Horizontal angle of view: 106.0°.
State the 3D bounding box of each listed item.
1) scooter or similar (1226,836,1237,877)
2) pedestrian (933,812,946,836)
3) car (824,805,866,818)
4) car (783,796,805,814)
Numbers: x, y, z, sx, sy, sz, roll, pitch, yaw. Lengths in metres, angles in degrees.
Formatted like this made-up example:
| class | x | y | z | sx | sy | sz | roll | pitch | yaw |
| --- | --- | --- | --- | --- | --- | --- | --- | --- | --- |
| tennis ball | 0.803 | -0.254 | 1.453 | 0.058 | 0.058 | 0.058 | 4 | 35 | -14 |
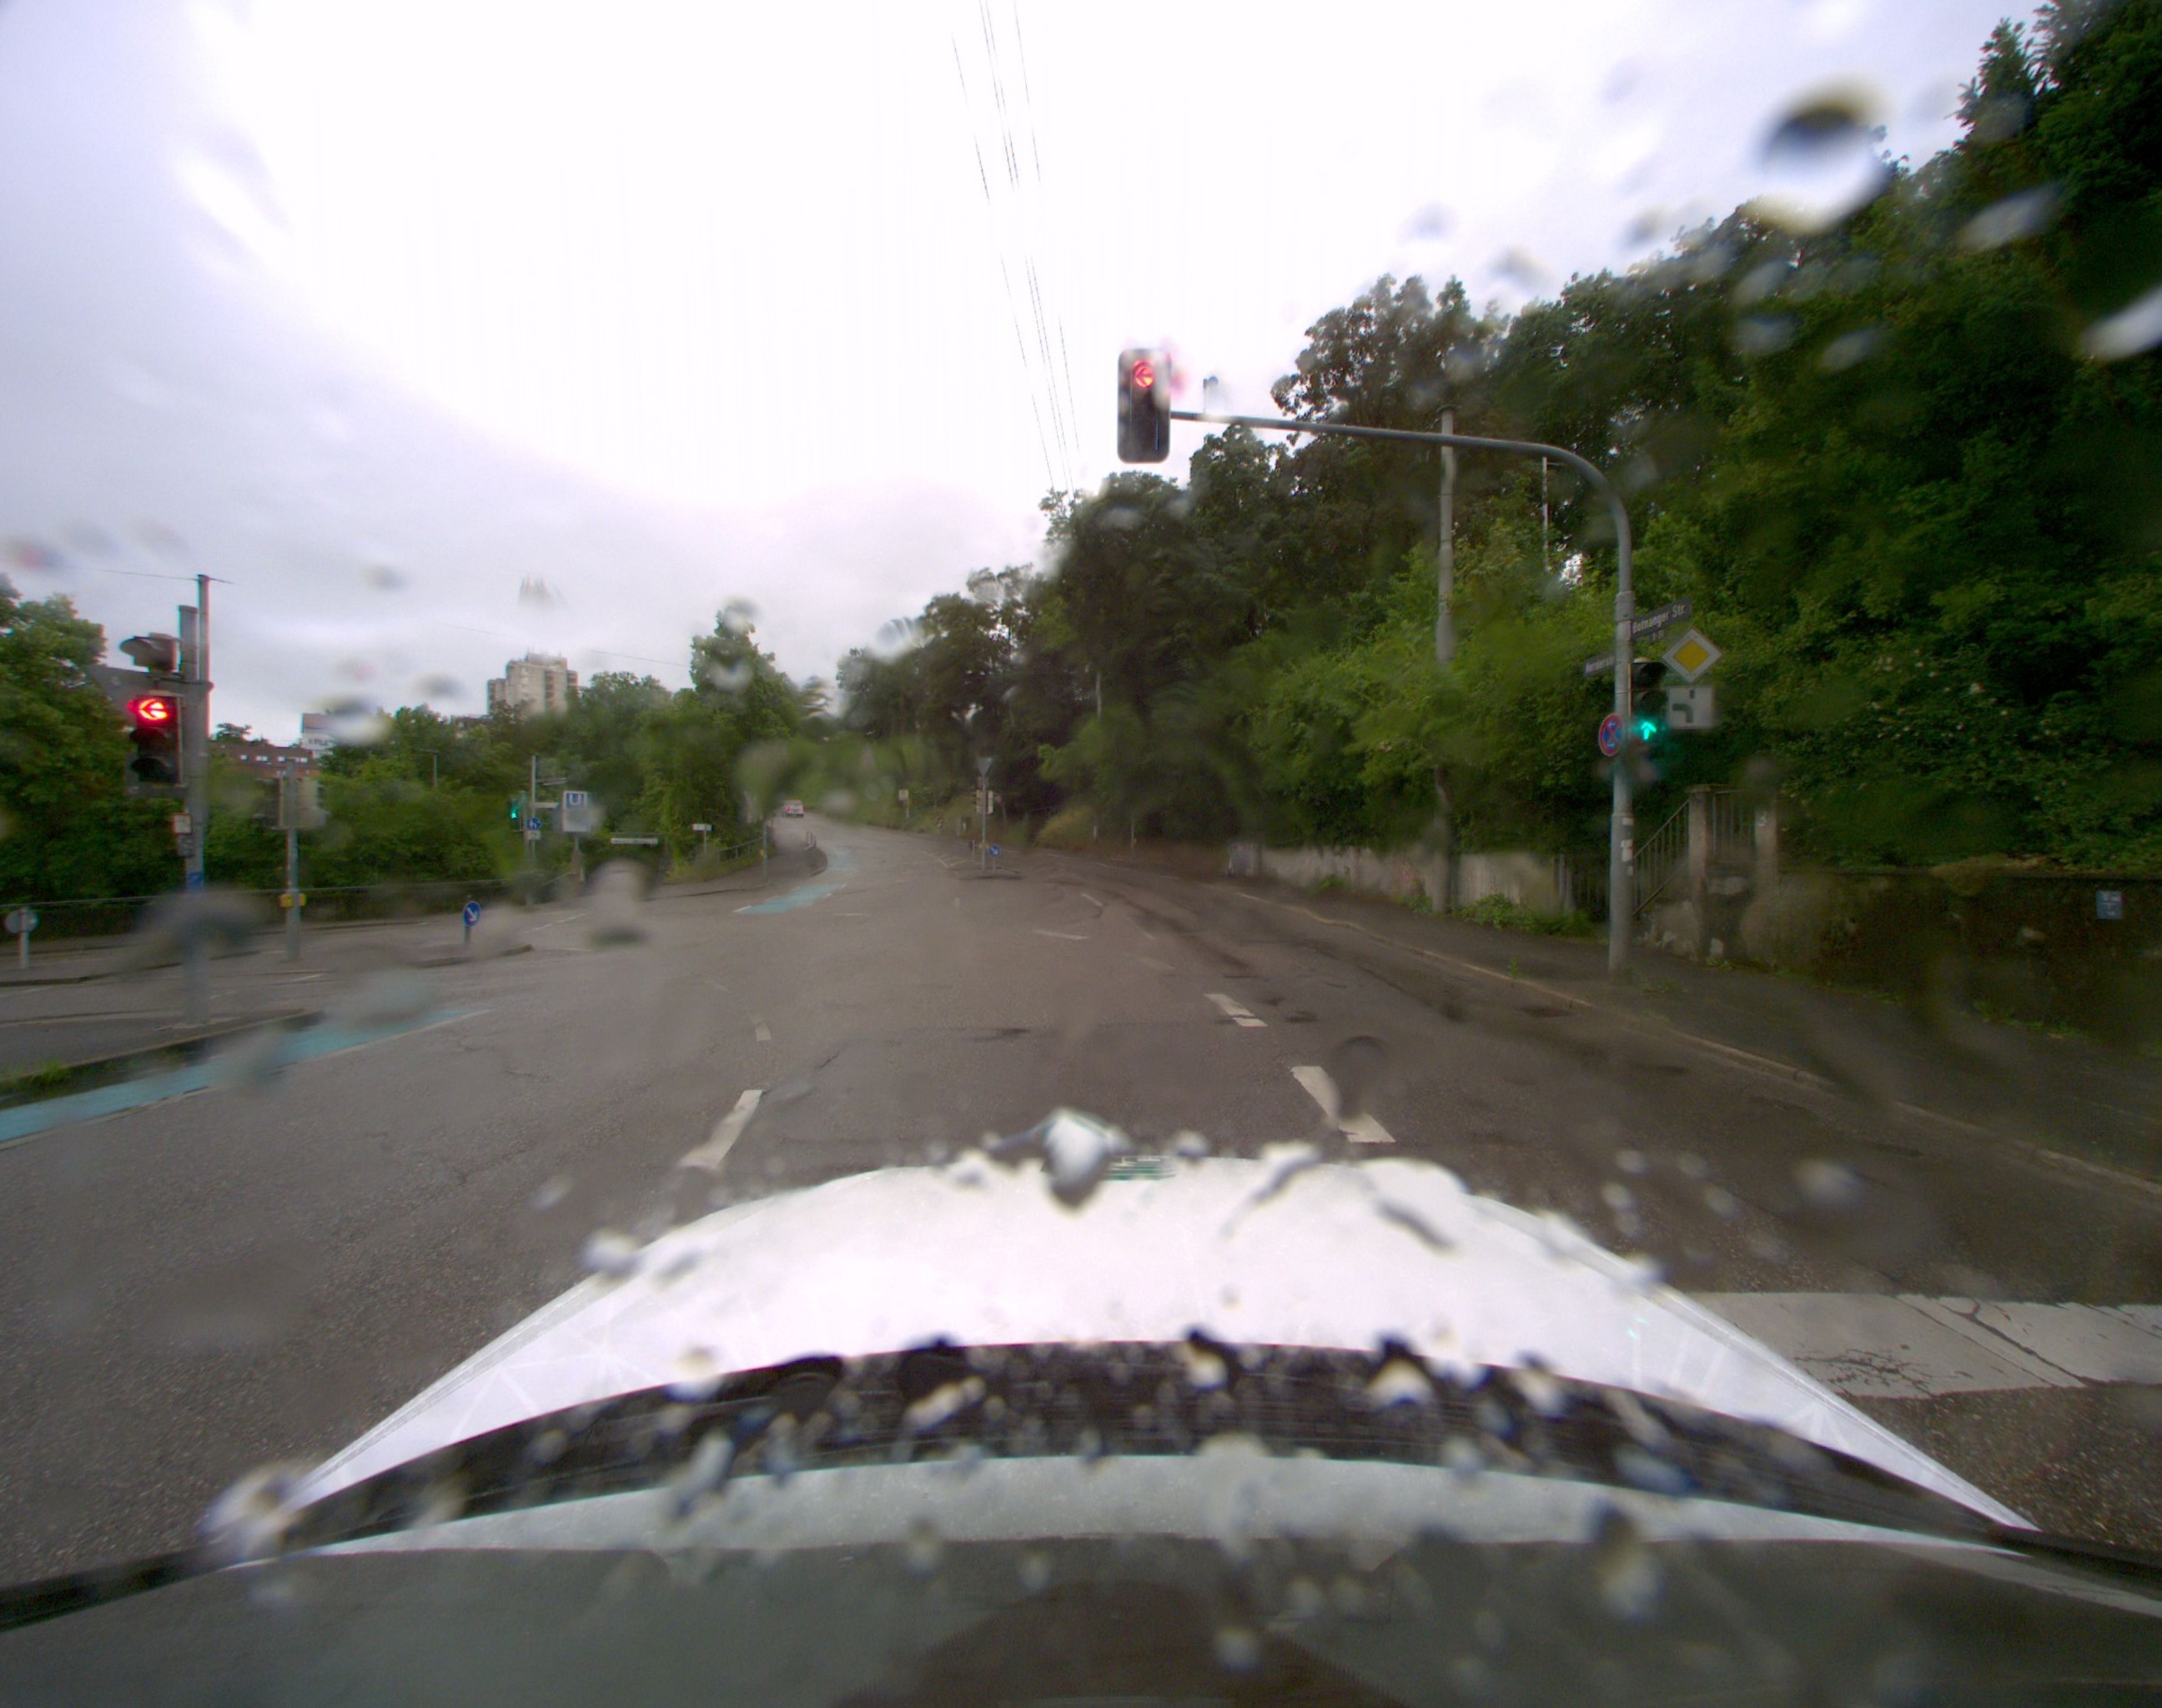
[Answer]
| class | x | y | z | sx | sy | sz | roll | pitch | yaw |
| --- | --- | --- | --- | --- | --- | --- | --- | --- | --- |
| scooter or similar | 4.906 | 0.063 | 26.504 | 0.320 | 1.279 | 0.754 | -1 | 2 | 10 |
| pedestrian | -10.264 | -2.178 | 59.088 | 0.882 | 1.736 | 0.861 | 0 | -1 | -15 |
| car | -27.435 | -4.919 | 94.692 | 4.357 | 1.511 | 1.971 | 1 | 3 | 15 |
| car | -34.236 | -5.824 | 97.119 | 2.076 | 2.006 | 4.775 | -1 | 1 | -25 |
